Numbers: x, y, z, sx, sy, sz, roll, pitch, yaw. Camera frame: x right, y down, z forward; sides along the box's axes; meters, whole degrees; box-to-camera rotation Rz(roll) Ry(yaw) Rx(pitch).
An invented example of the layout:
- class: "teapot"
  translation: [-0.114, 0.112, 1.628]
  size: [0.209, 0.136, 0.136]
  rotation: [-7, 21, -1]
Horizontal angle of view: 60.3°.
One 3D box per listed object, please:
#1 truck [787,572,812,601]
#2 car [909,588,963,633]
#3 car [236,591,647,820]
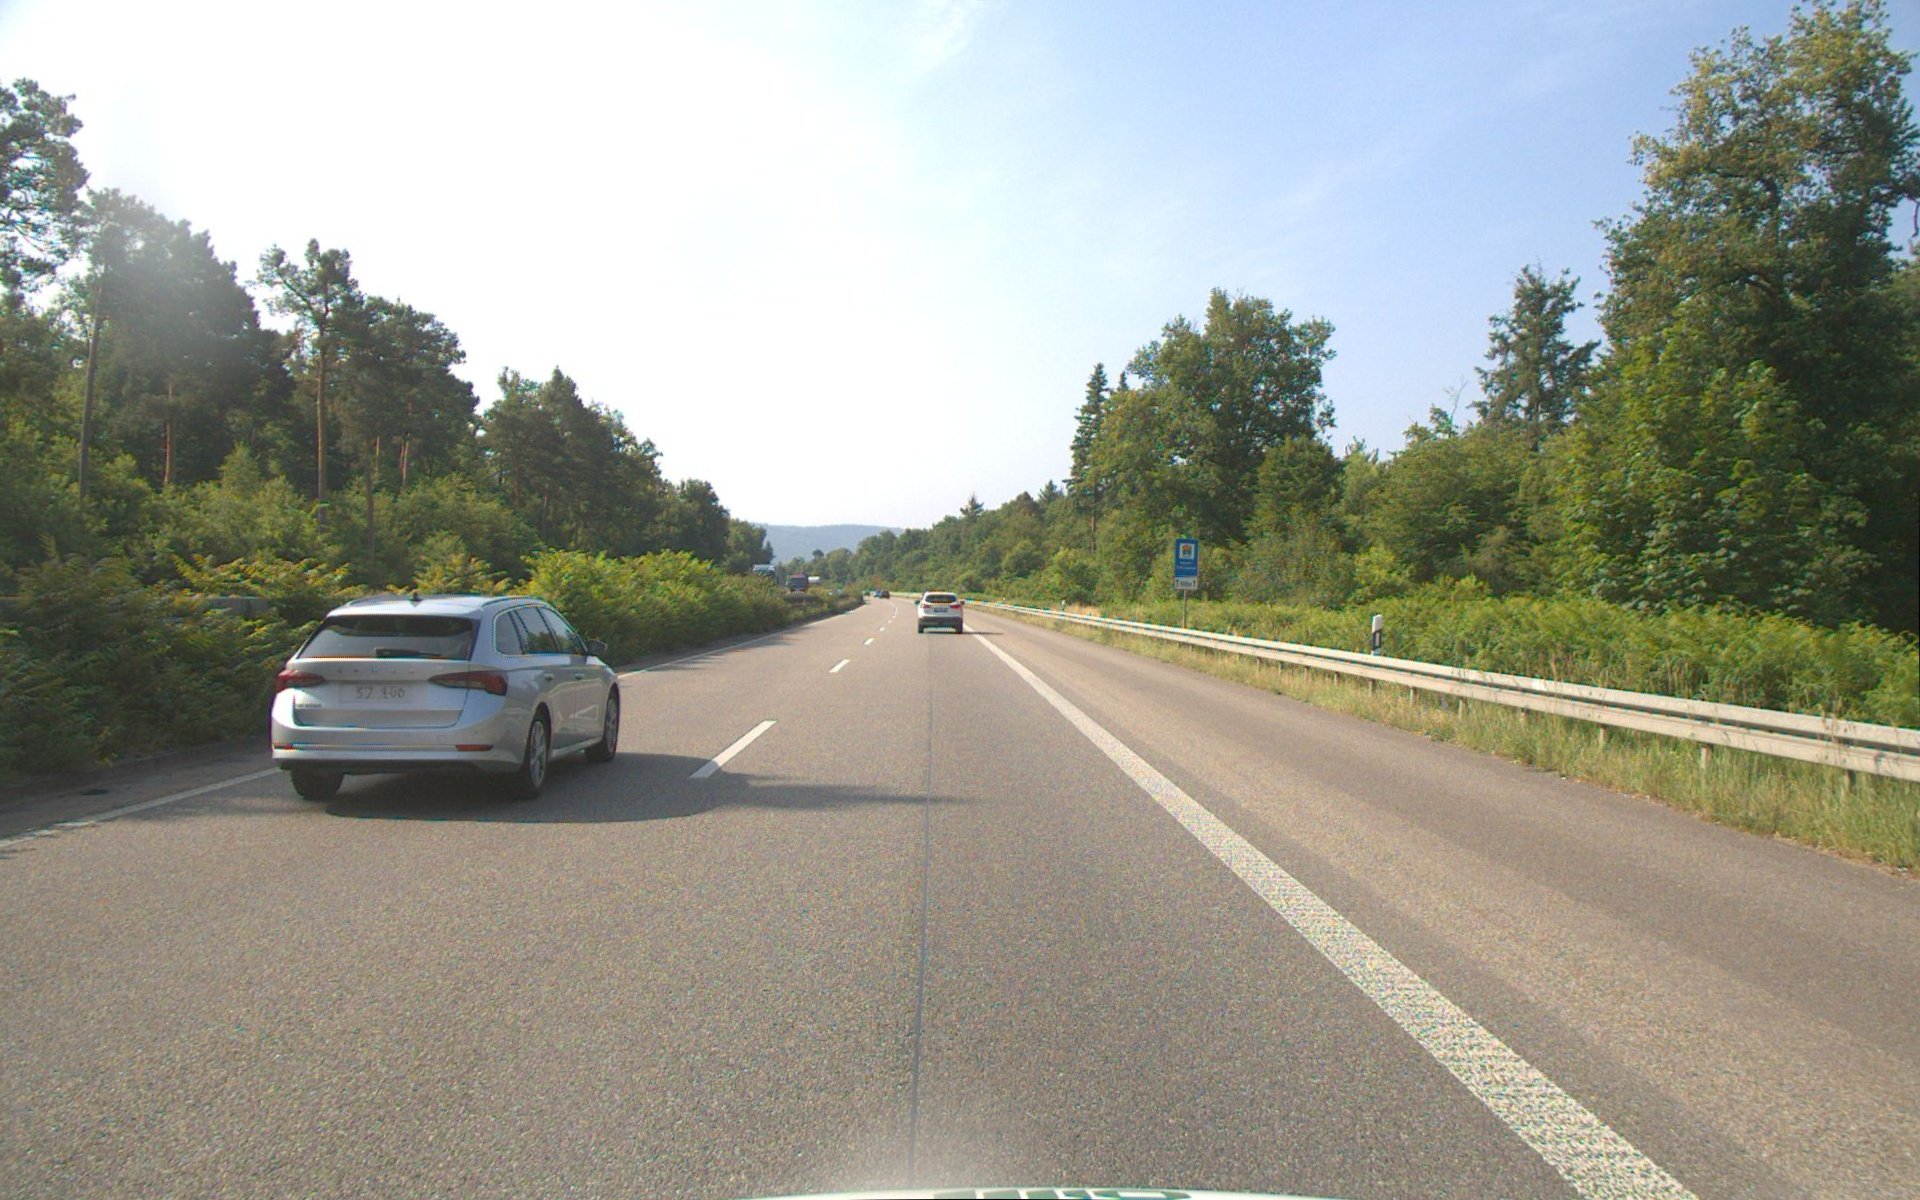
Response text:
- class: "truck"
  translation: [-23.522, -1.987, 242.756]
  size: [3.201, 4.109, 6.229]
  rotation: [1, 0, -3]
- class: "car"
  translation: [-0.998, 0.388, 65.559]
  size: [1.837, 1.614, 3.996]
  rotation: [2, 0, -5]
- class: "car"
  translation: [-3.877, 0.674, 13.424]
  size: [1.756, 1.463, 5.277]
  rotation: [0, 0, -1]
